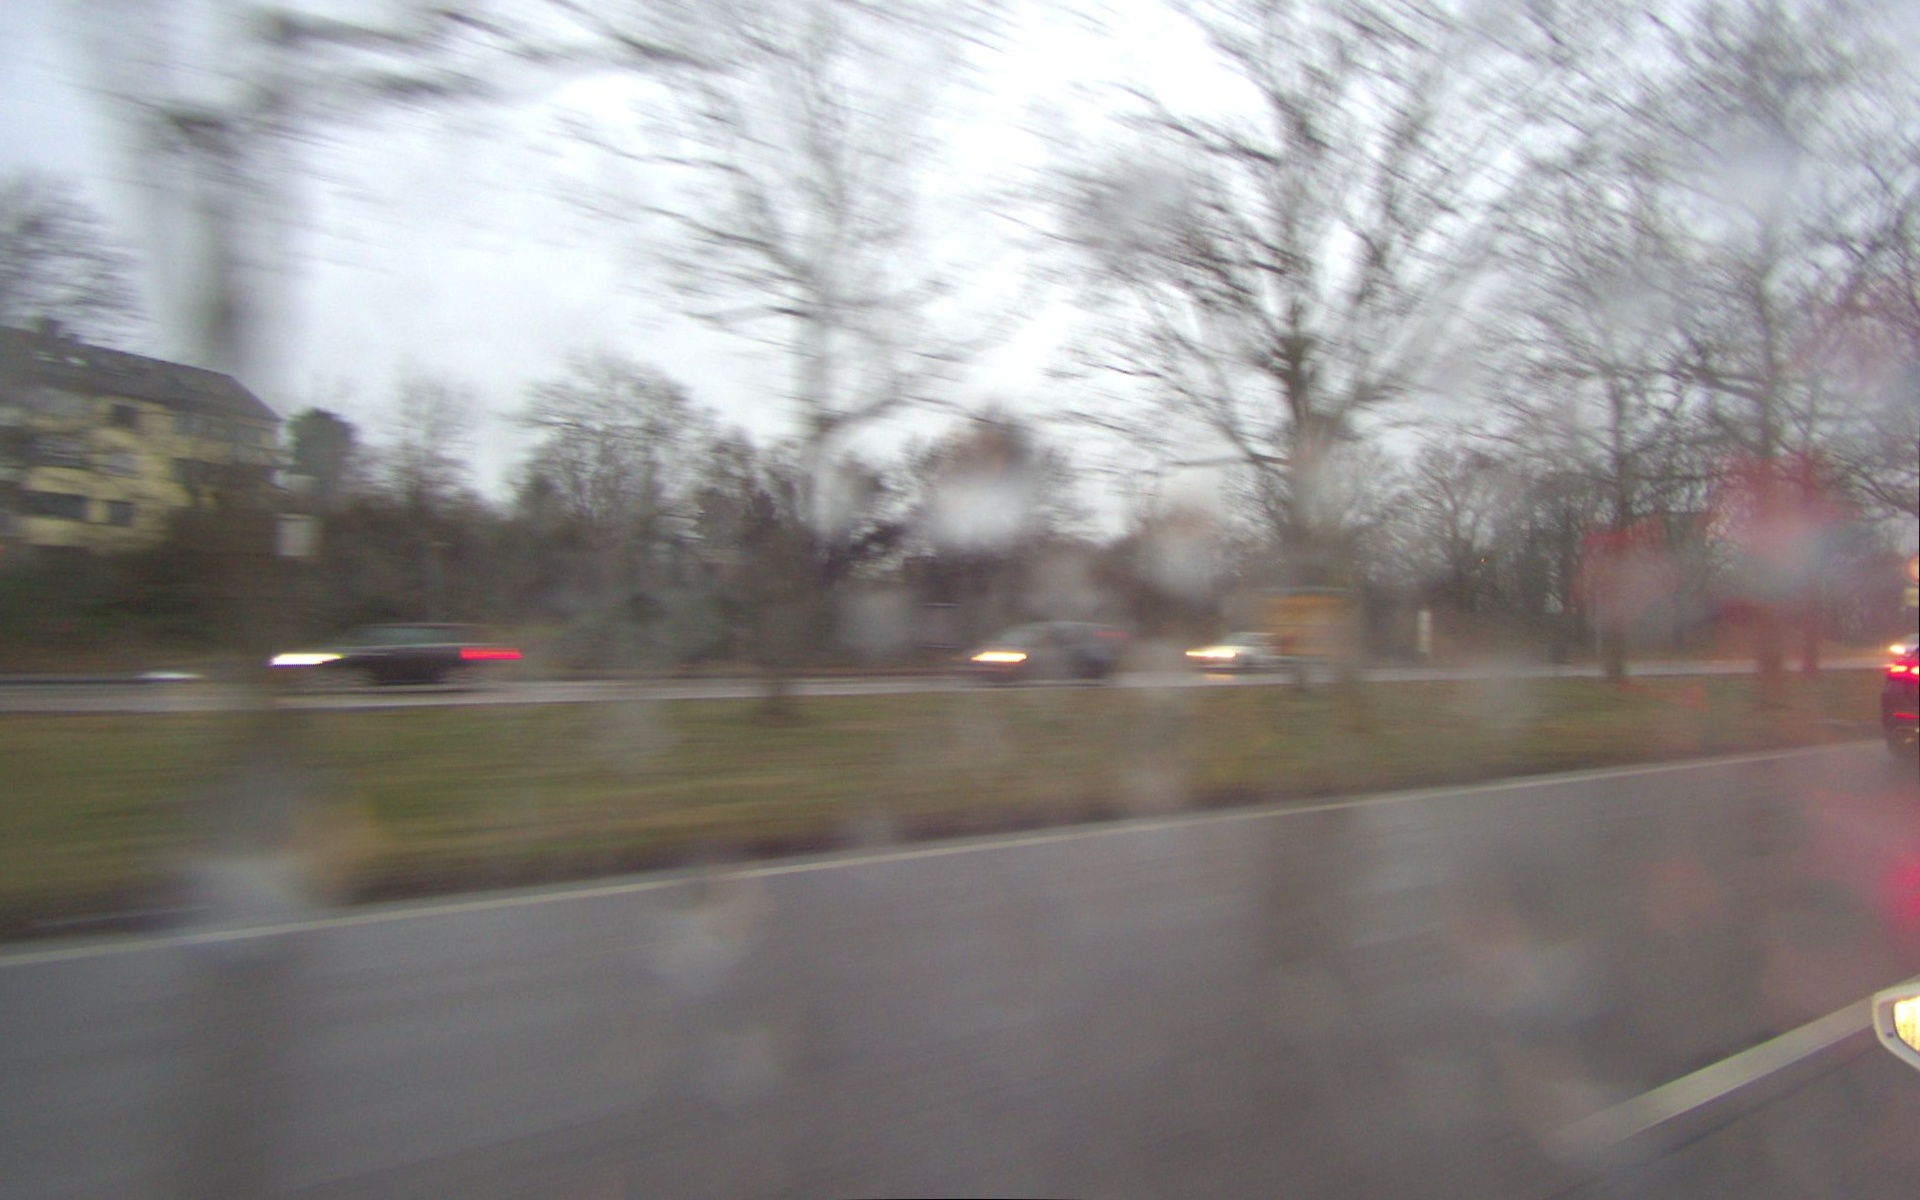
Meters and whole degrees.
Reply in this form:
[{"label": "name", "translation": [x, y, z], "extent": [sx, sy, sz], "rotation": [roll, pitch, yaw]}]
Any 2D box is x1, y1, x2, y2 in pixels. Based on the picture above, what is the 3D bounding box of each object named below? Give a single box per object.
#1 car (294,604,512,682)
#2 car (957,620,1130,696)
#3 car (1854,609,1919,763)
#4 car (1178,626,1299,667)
[{"label": "car", "translation": [-11.367, 0.891, 20.687], "extent": [3.747, 1.487, 1.624], "rotation": [2, -2, -30]}, {"label": "car", "translation": [2.038, 1.362, 24.243], "extent": [3.934, 1.704, 1.610], "rotation": [2, -1, -30]}, {"label": "car", "translation": [12.213, 0.986, 11.364], "extent": [4.260, 1.623, 1.983], "rotation": [2, 0, -32]}, {"label": "car", "translation": [10.363, 1.716, 37.368], "extent": [4.241, 1.413, 1.744], "rotation": [2, -1, -25]}]
